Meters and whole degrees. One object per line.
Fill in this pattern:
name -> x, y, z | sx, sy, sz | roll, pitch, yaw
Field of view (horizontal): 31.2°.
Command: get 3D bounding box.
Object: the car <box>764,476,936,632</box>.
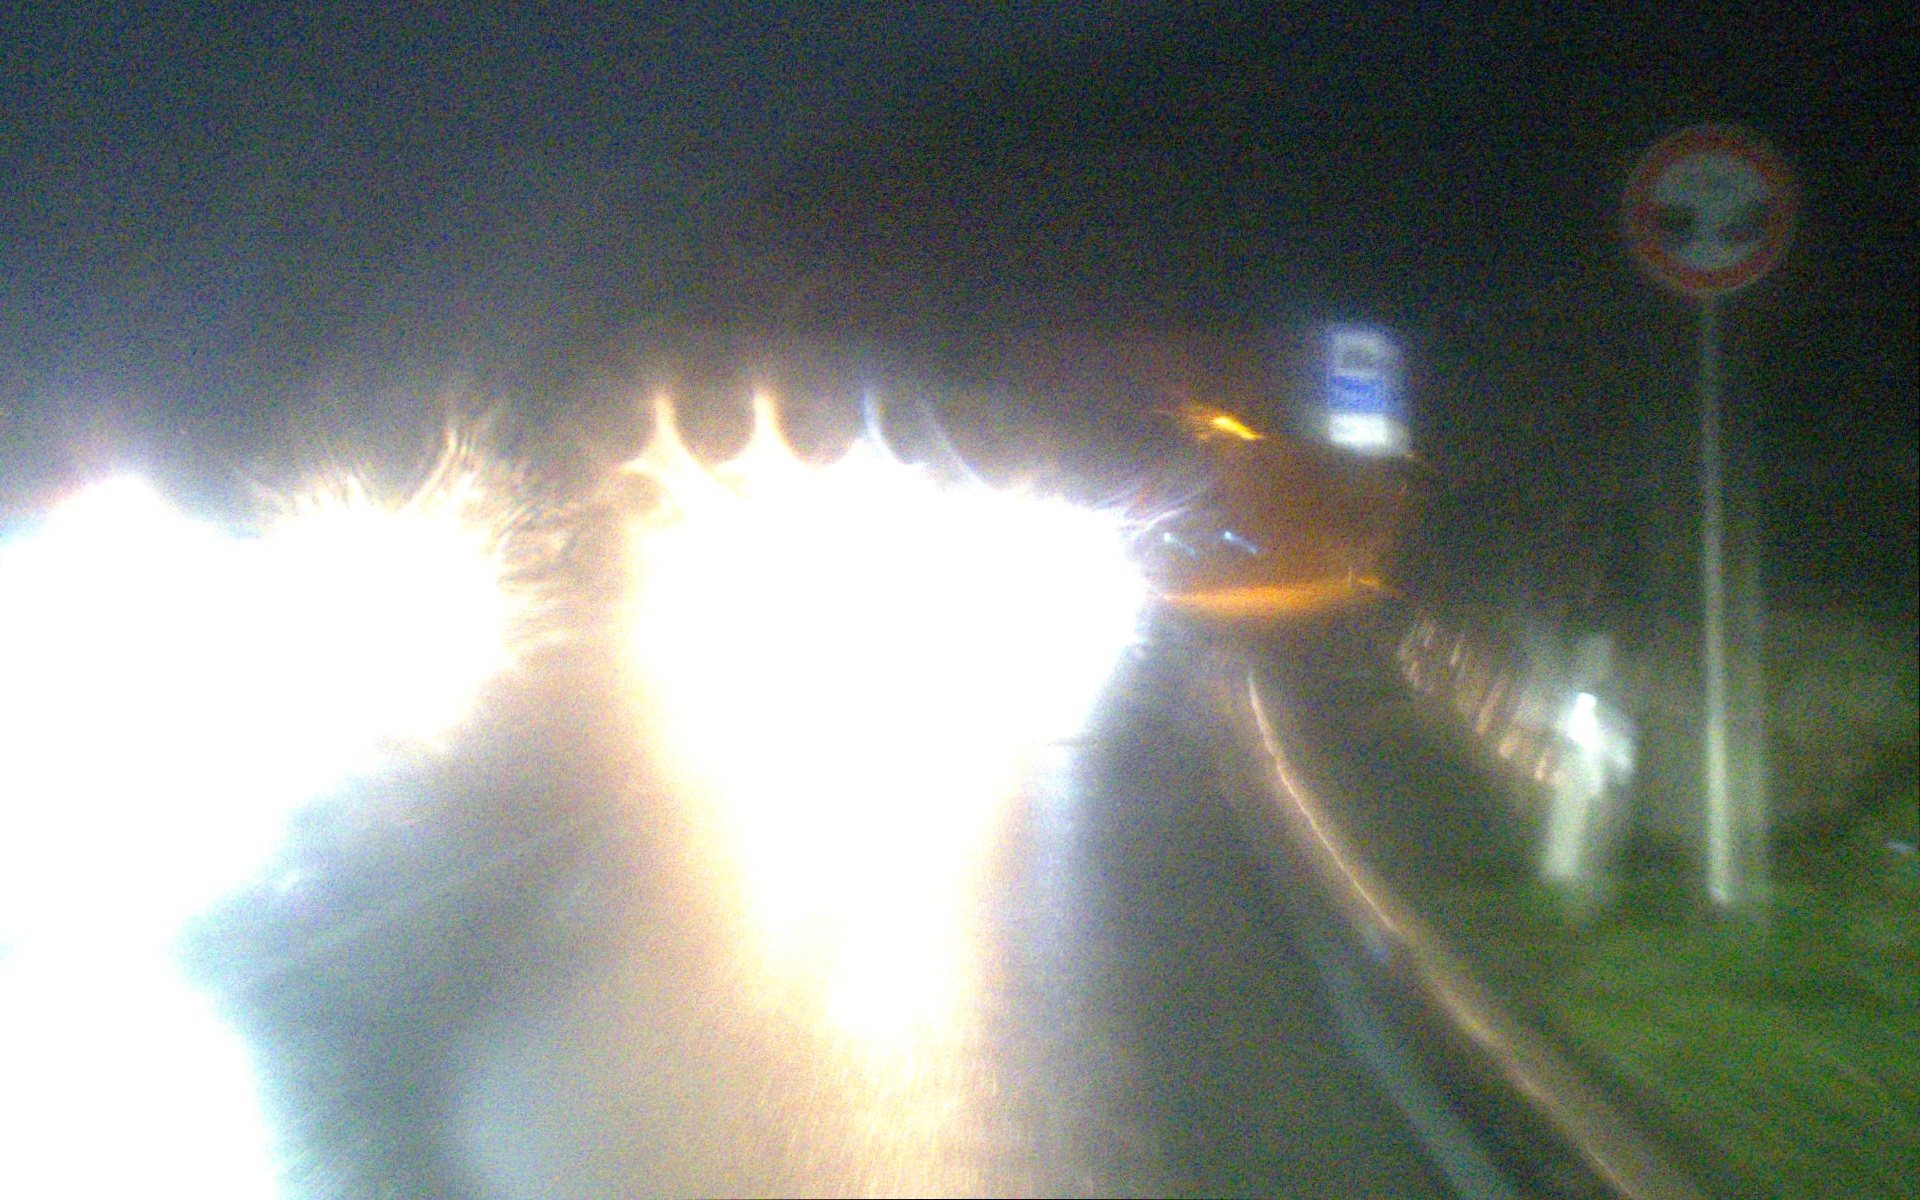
car -> -1.454, -0.663, 47.450 | 1.891, 1.996, 4.880 | 1, 1, 3

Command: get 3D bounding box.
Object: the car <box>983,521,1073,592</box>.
car -> 1.429, -0.892, 70.641 | 1.591, 1.375, 4.324 | 1, 1, 4
